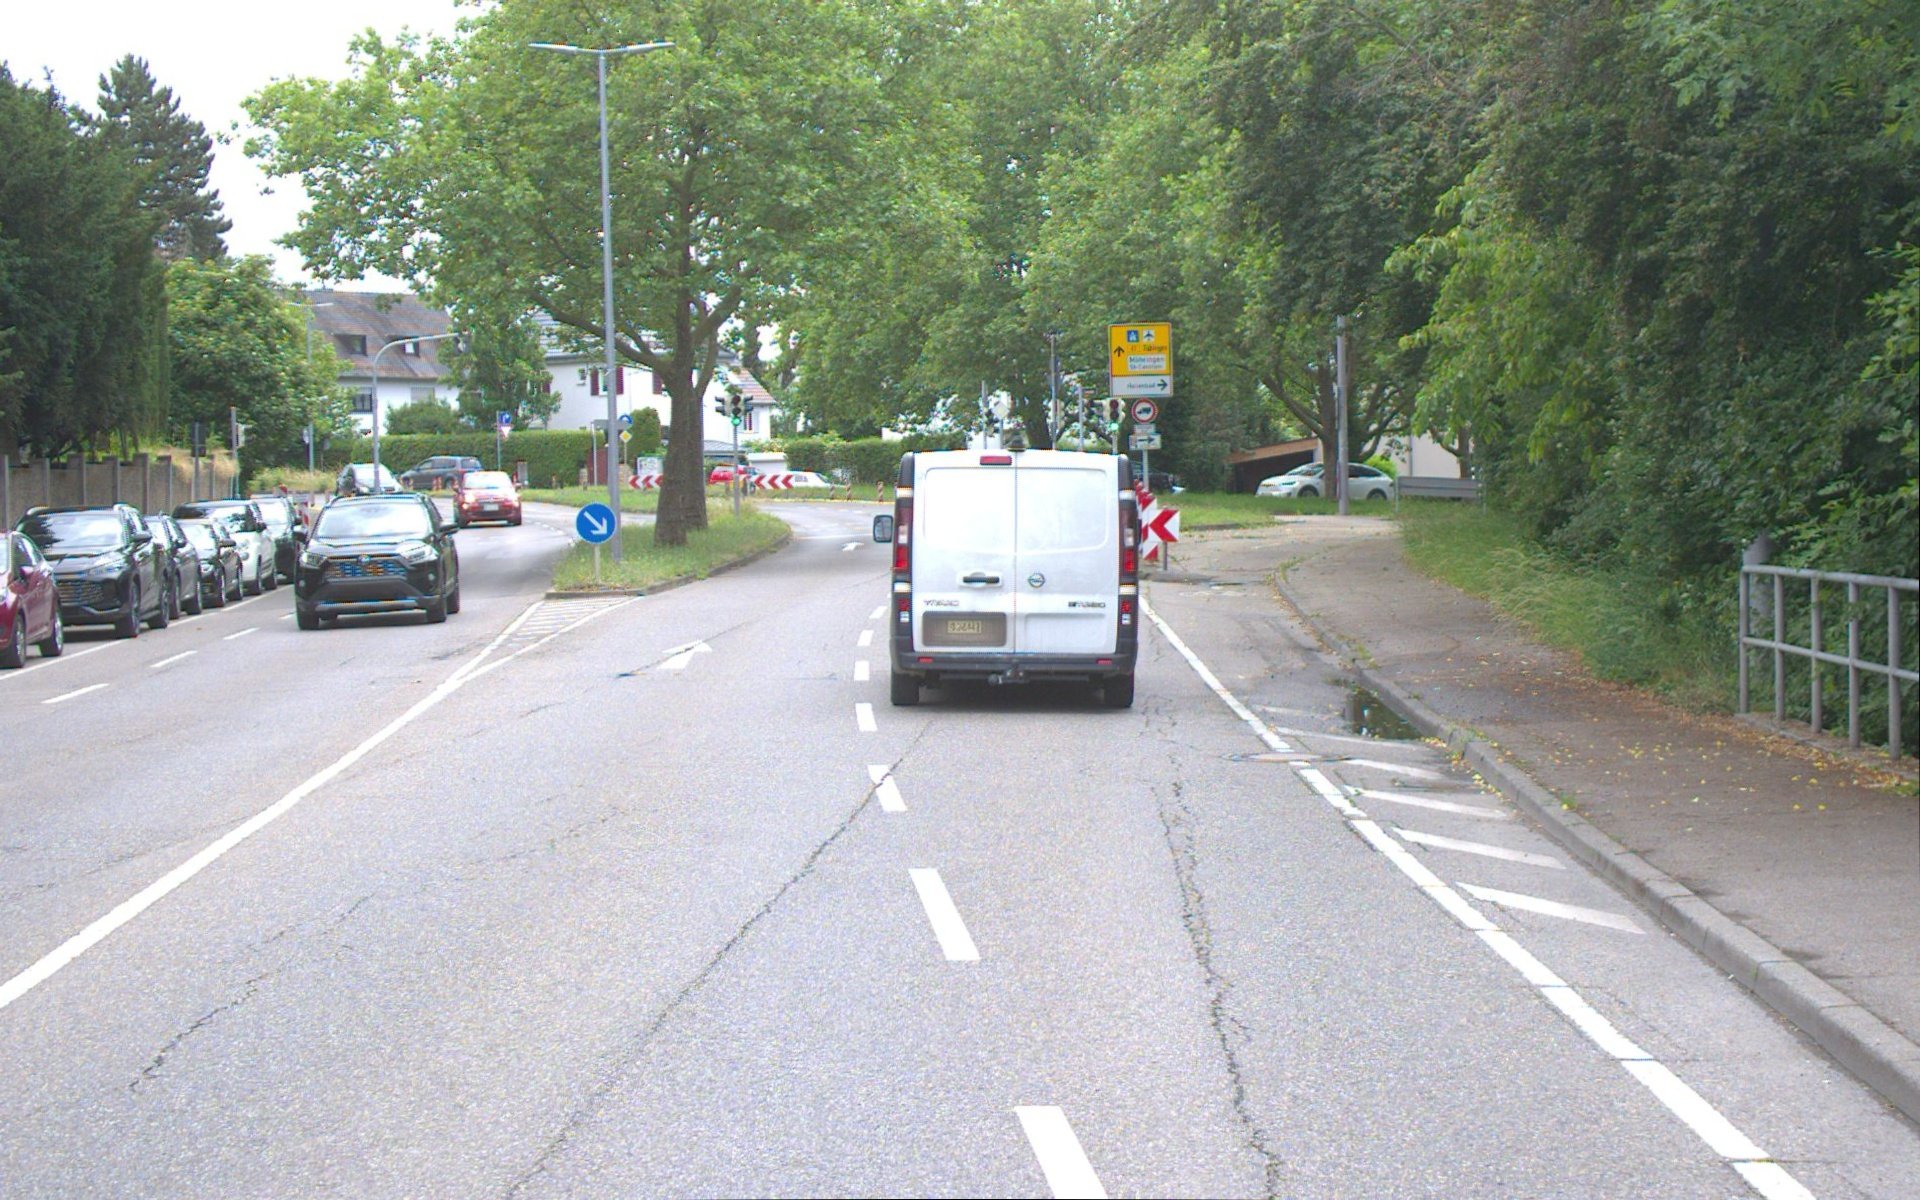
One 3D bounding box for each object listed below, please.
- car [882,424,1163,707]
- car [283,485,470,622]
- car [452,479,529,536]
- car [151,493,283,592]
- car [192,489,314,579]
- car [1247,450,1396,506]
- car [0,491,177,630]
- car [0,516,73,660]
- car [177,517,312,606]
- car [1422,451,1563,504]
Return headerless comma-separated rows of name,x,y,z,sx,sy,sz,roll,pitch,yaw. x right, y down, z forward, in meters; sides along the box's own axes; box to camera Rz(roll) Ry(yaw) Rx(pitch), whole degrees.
car,0.397,-0.315,27.525,2.006,2.031,5.011,1,1,-1
car,-7.516,-0.622,44.605,1.842,1.641,4.214,-1,1,-2
car,-13.701,-2.707,100.472,1.998,1.582,3.998,-2,2,-5
car,-12.959,-1.036,60.157,1.672,1.586,4.097,-3,2,-5
car,-13.420,-1.271,65.478,1.887,1.619,4.432,-1,2,-7
car,12.044,-4.074,114.394,4.730,1.763,2.000,-2,3,-34
car,-11.269,-0.539,43.819,1.993,1.637,4.467,-2,2,-7
car,-10.736,-0.138,36.864,1.779,1.433,4.001,-2,2,-6
car,-11.459,-0.654,55.274,1.647,1.324,4.223,-1,2,-6
car,18.464,-4.241,119.096,4.730,1.763,2.000,-2,3,-34
